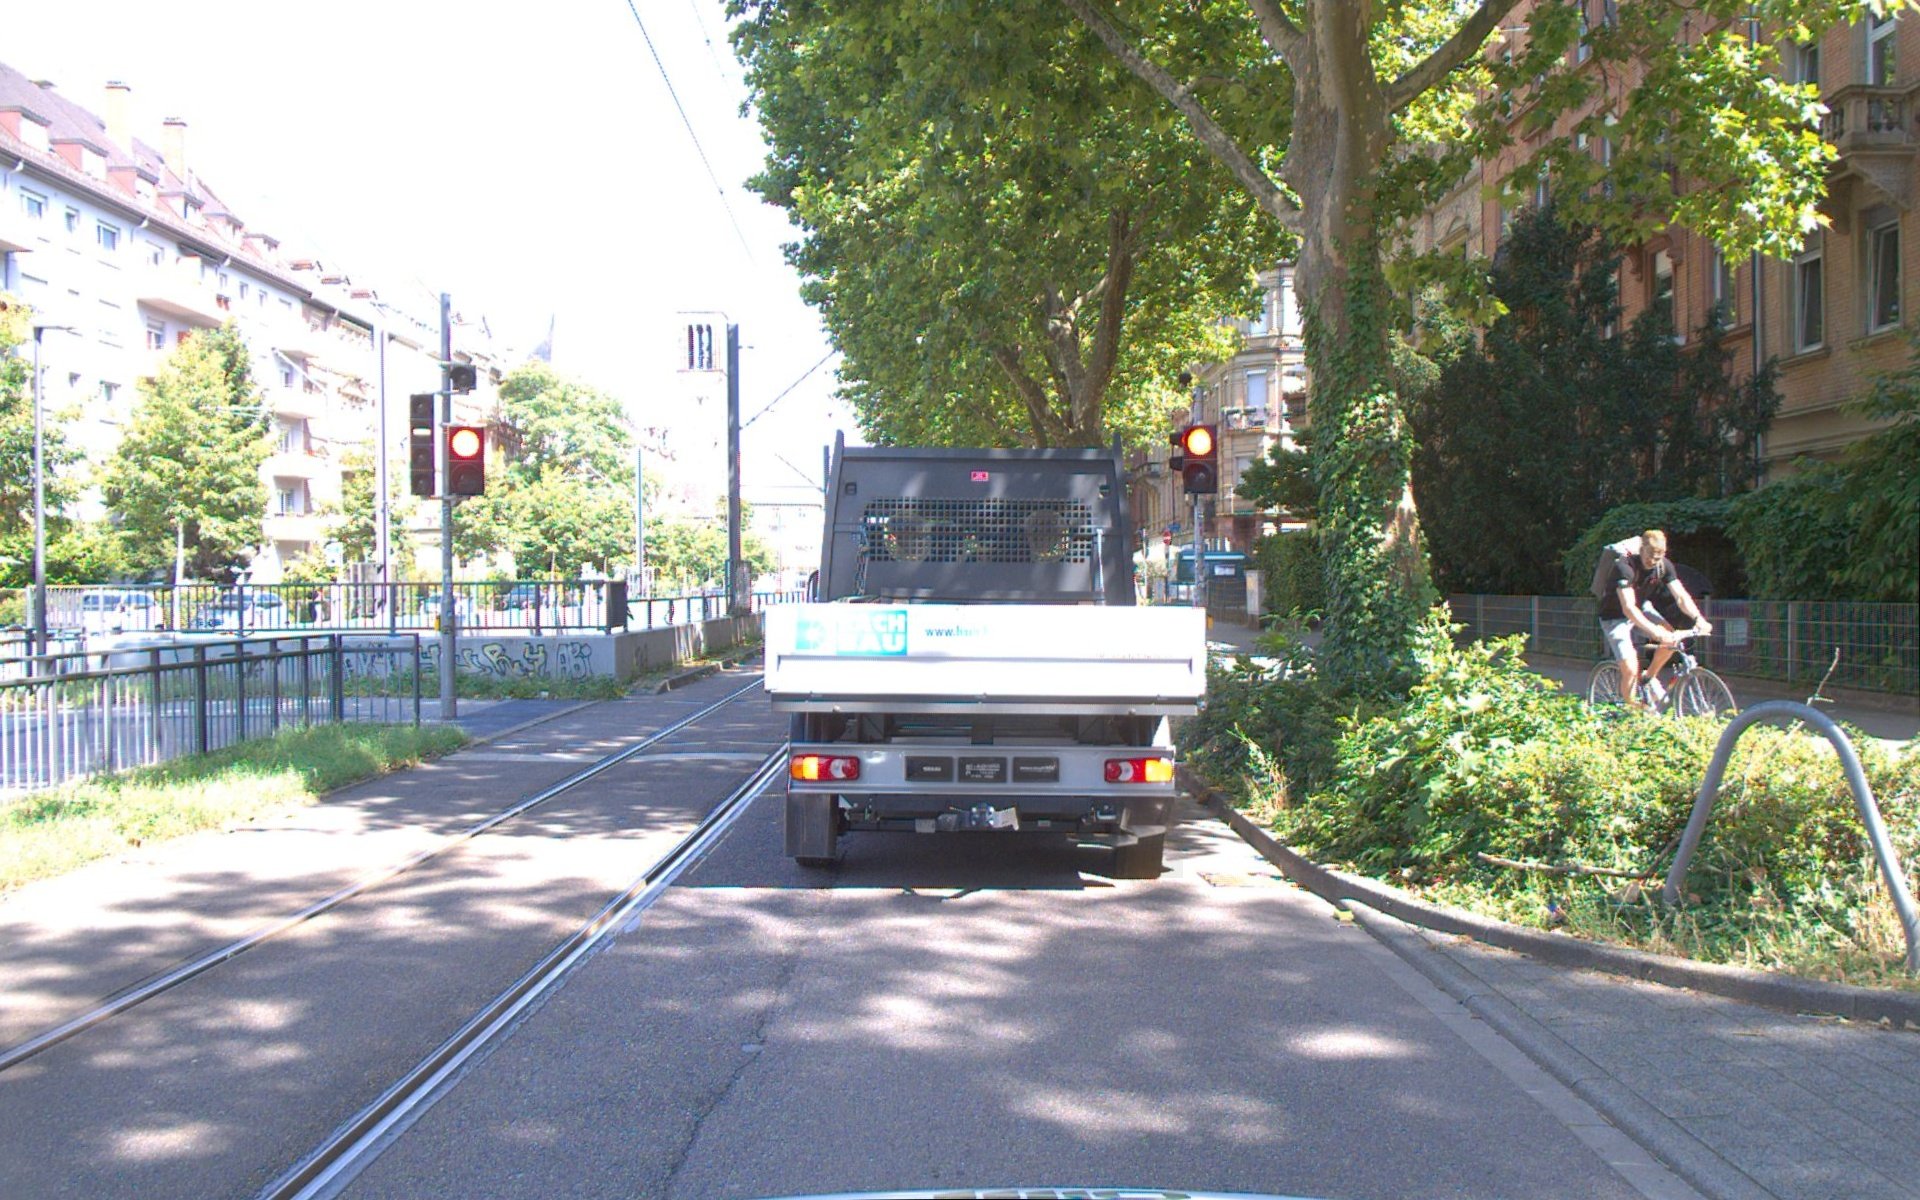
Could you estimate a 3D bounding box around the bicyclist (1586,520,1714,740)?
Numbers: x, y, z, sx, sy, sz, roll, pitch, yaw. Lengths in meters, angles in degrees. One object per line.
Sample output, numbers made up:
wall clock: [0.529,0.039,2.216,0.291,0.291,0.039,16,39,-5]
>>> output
bicyclist: [5.341,0.221,12.831,0.611,1.651,0.693,-1,0,-11]

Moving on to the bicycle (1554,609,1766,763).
bicycle: [5.350,0.618,12.775,0.521,1.067,1.921,-1,0,-10]

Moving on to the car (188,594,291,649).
car: [-22.201,0.635,51.120,1.737,1.524,3.994,-2,1,-7]

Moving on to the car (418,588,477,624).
car: [-22.515,0.252,72.755,1.737,1.524,3.994,-1,1,-7]

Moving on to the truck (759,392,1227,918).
truck: [0.152,0.228,9.709,2.094,2.359,4.401,1,1,0]

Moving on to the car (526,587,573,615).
car: [-23.288,0.064,93.943,1.735,1.524,3.998,-1,1,-2]

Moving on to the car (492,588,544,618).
car: [-22.999,0.134,86.111,1.735,1.524,3.998,-1,1,-2]

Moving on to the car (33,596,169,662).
car: [-22.011,0.711,42.543,1.737,1.524,3.994,-2,1,-7]
